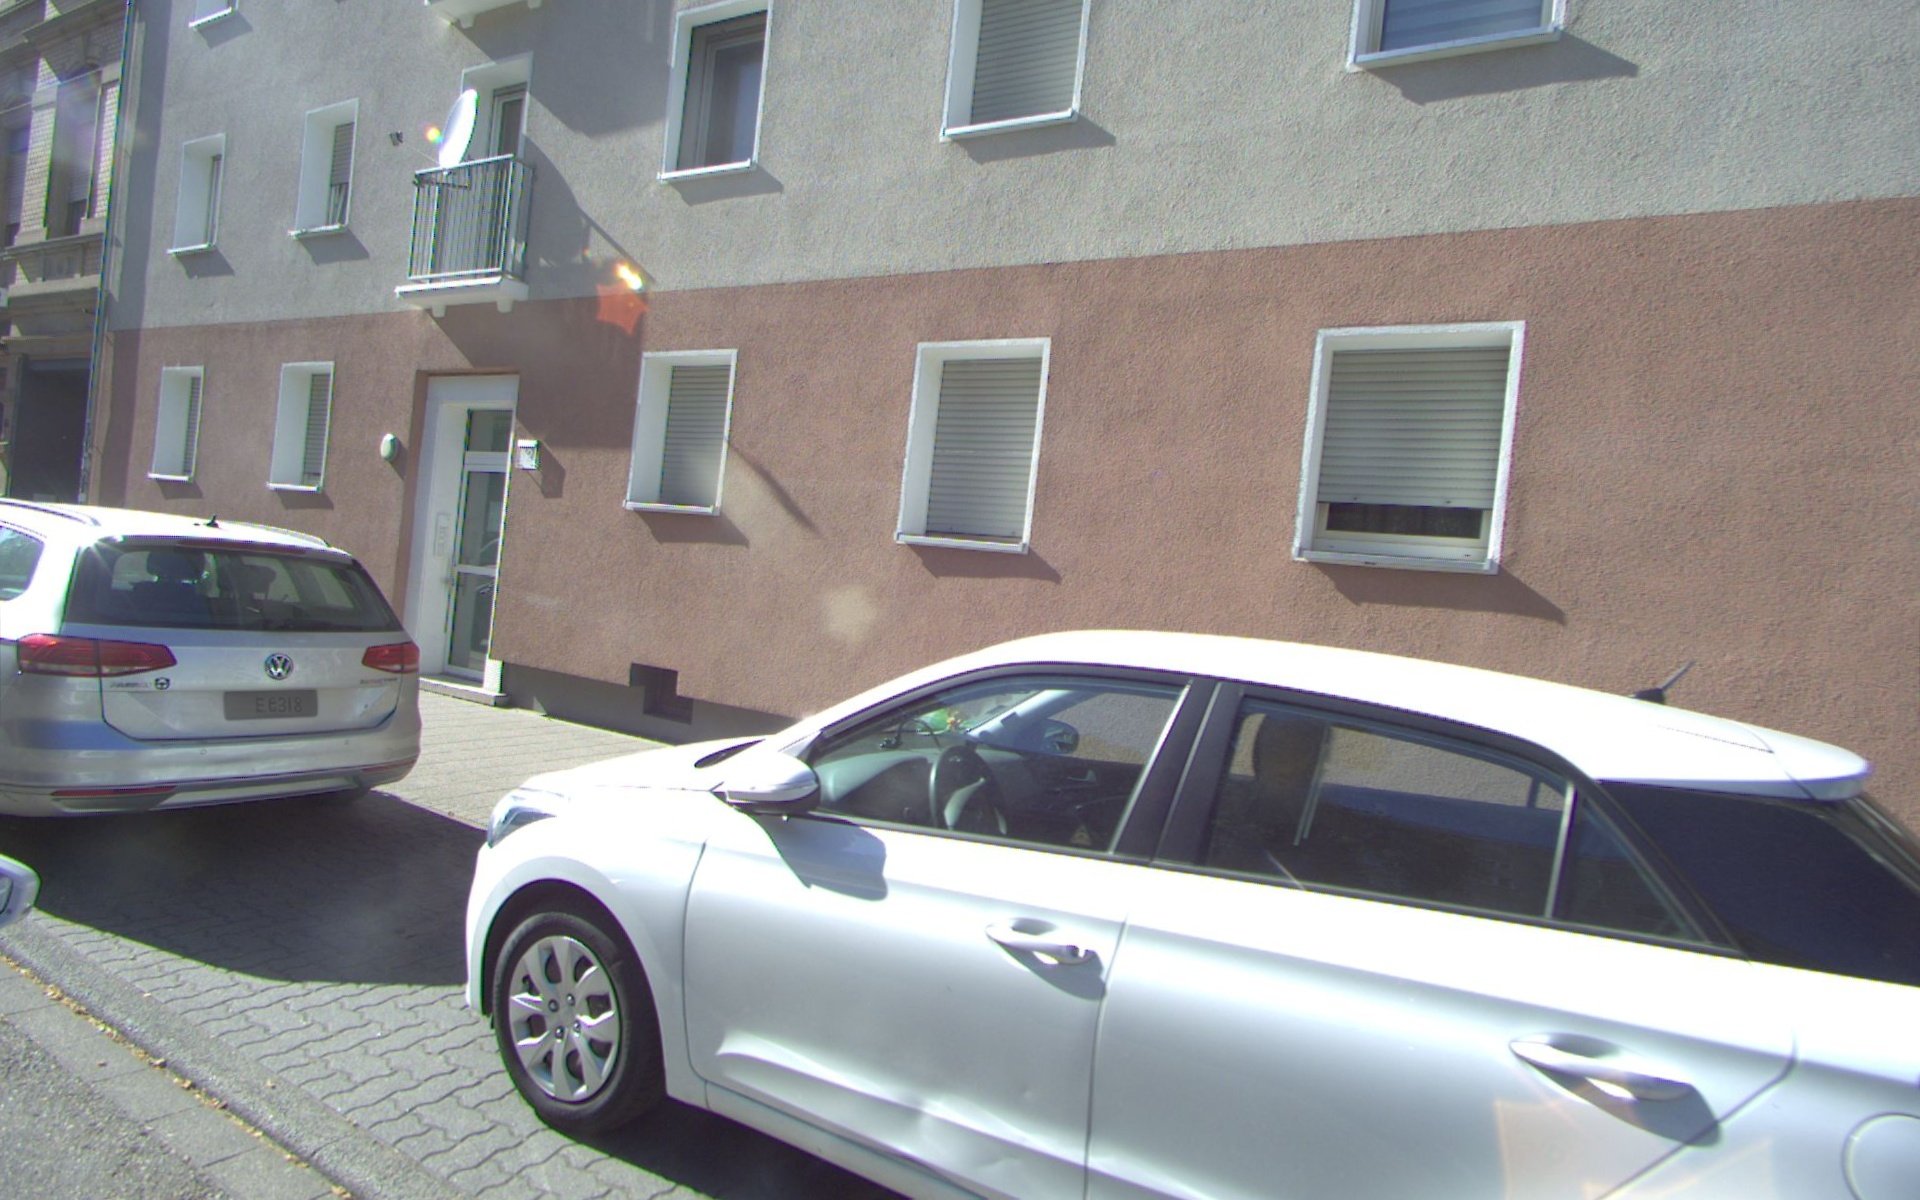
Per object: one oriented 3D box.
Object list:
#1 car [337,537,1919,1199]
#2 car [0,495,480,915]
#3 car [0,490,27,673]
[{"bbox_3d":[0.243,0.777,2.869,3.729,1.505,1.733,6,1,28],"label":"car"},{"bbox_3d":[-4.794,0.231,5.407,4.441,1.478,1.787,6,0,31],"label":"car"},{"bbox_3d":[-9.793,-0.364,8.475,3.647,1.498,1.712,6,-1,29],"label":"car"}]
